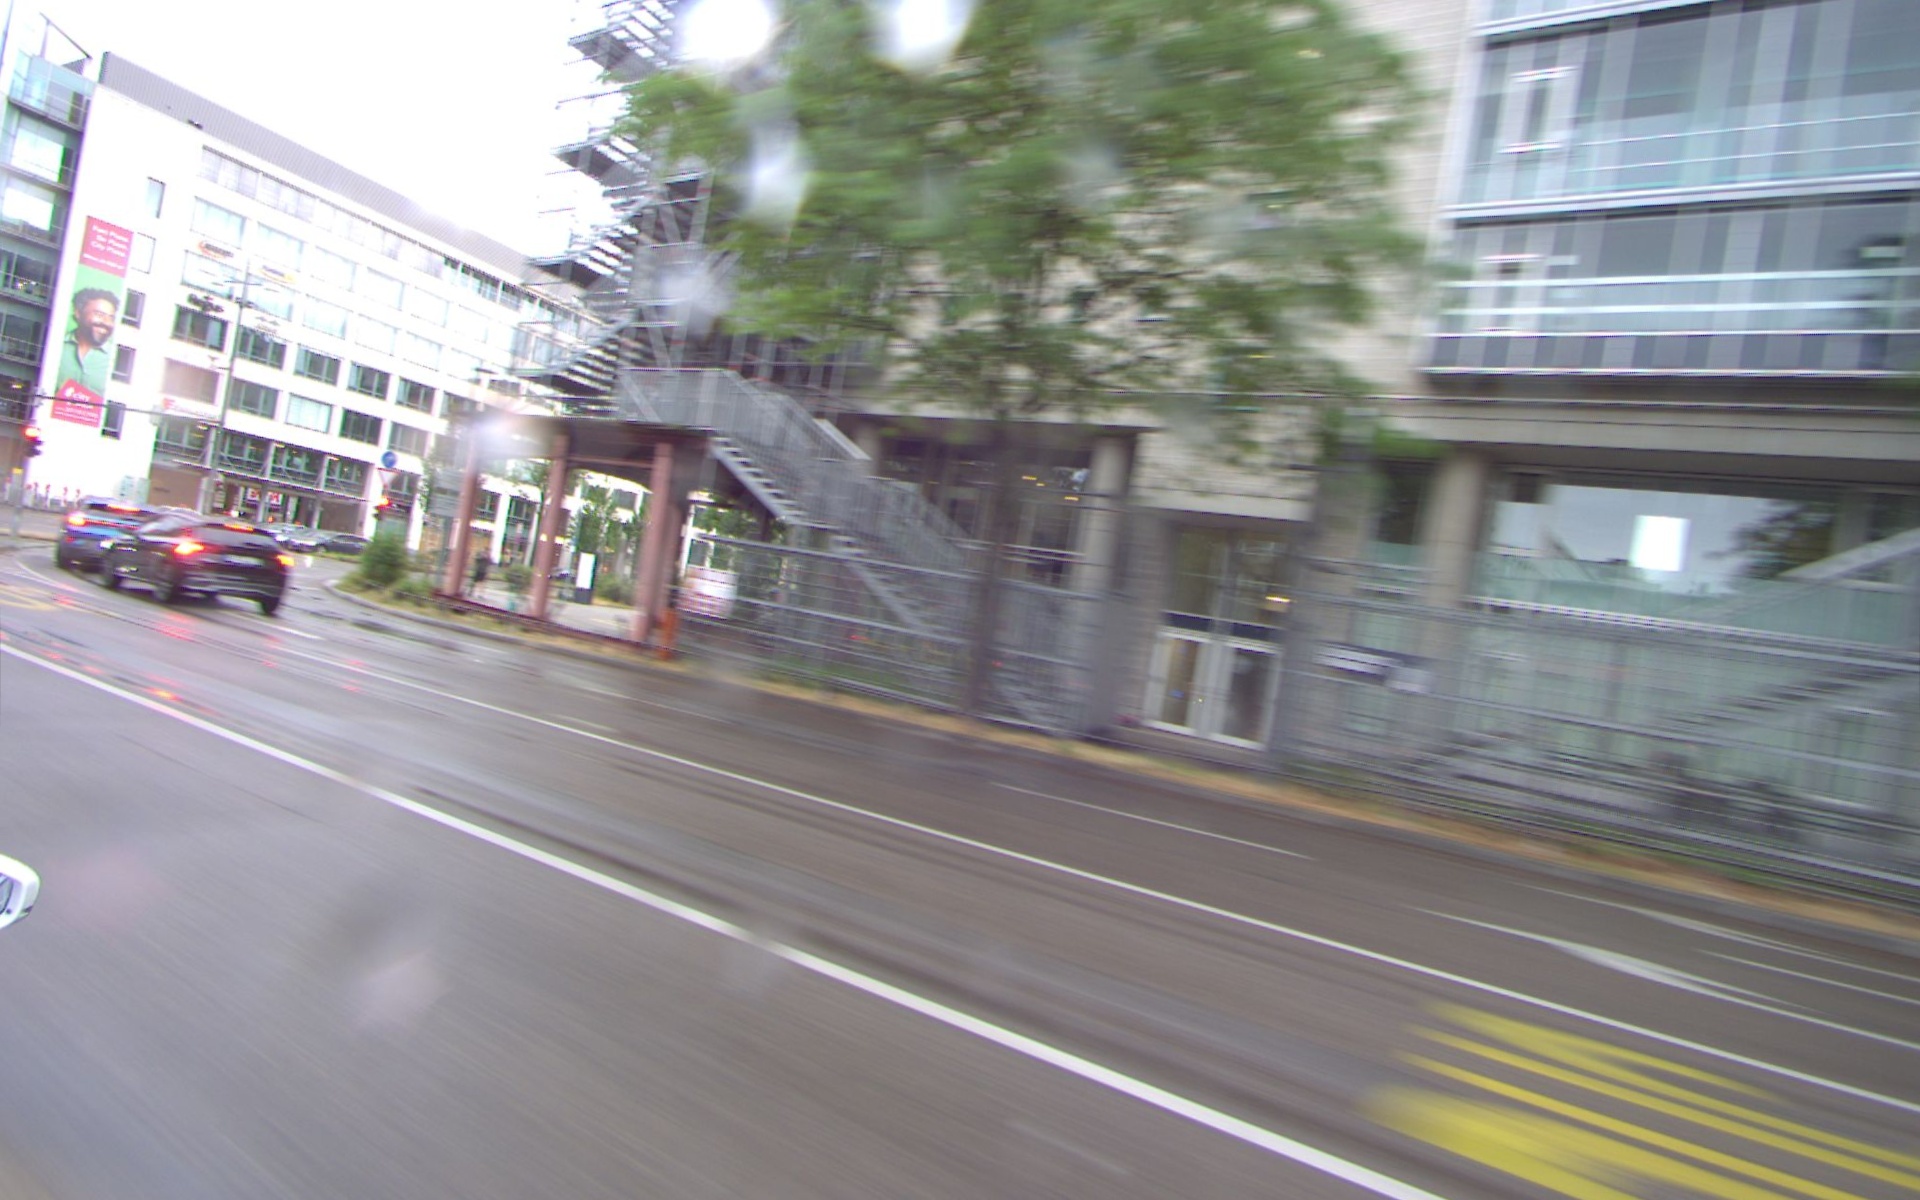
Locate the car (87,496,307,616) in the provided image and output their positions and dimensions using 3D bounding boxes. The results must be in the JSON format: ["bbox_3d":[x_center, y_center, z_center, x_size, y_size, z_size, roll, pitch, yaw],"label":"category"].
[{"bbox_3d":[-13.634,-0.801,17.920,4.080,1.558,1.781,8,-1,34],"label":"car"}]

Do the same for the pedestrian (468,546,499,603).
[{"bbox_3d":[-16.750,-0.899,35.349,0.675,1.874,1.047,8,0,-32],"label":"pedestrian"}]

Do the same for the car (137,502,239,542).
[{"bbox_3d":[-47.041,-4.712,61.421,1.962,1.616,4.470,8,-2,17],"label":"car"}]

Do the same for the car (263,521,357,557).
[{"bbox_3d":[-37.779,-3.533,58.626,1.690,1.363,4.469,8,-2,17],"label":"car"}]

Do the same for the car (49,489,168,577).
[{"bbox_3d":[-19.030,-1.539,22.413,1.699,1.547,4.372,9,-2,-43],"label":"car"}]

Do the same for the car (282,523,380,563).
[{"bbox_3d":[-35.440,-3.181,56.820,1.691,1.480,4.469,8,-2,19],"label":"car"}]

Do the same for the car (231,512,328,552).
[{"bbox_3d":[-40.825,-4.056,60.512,1.962,1.616,4.469,8,-2,17],"label":"car"}]
